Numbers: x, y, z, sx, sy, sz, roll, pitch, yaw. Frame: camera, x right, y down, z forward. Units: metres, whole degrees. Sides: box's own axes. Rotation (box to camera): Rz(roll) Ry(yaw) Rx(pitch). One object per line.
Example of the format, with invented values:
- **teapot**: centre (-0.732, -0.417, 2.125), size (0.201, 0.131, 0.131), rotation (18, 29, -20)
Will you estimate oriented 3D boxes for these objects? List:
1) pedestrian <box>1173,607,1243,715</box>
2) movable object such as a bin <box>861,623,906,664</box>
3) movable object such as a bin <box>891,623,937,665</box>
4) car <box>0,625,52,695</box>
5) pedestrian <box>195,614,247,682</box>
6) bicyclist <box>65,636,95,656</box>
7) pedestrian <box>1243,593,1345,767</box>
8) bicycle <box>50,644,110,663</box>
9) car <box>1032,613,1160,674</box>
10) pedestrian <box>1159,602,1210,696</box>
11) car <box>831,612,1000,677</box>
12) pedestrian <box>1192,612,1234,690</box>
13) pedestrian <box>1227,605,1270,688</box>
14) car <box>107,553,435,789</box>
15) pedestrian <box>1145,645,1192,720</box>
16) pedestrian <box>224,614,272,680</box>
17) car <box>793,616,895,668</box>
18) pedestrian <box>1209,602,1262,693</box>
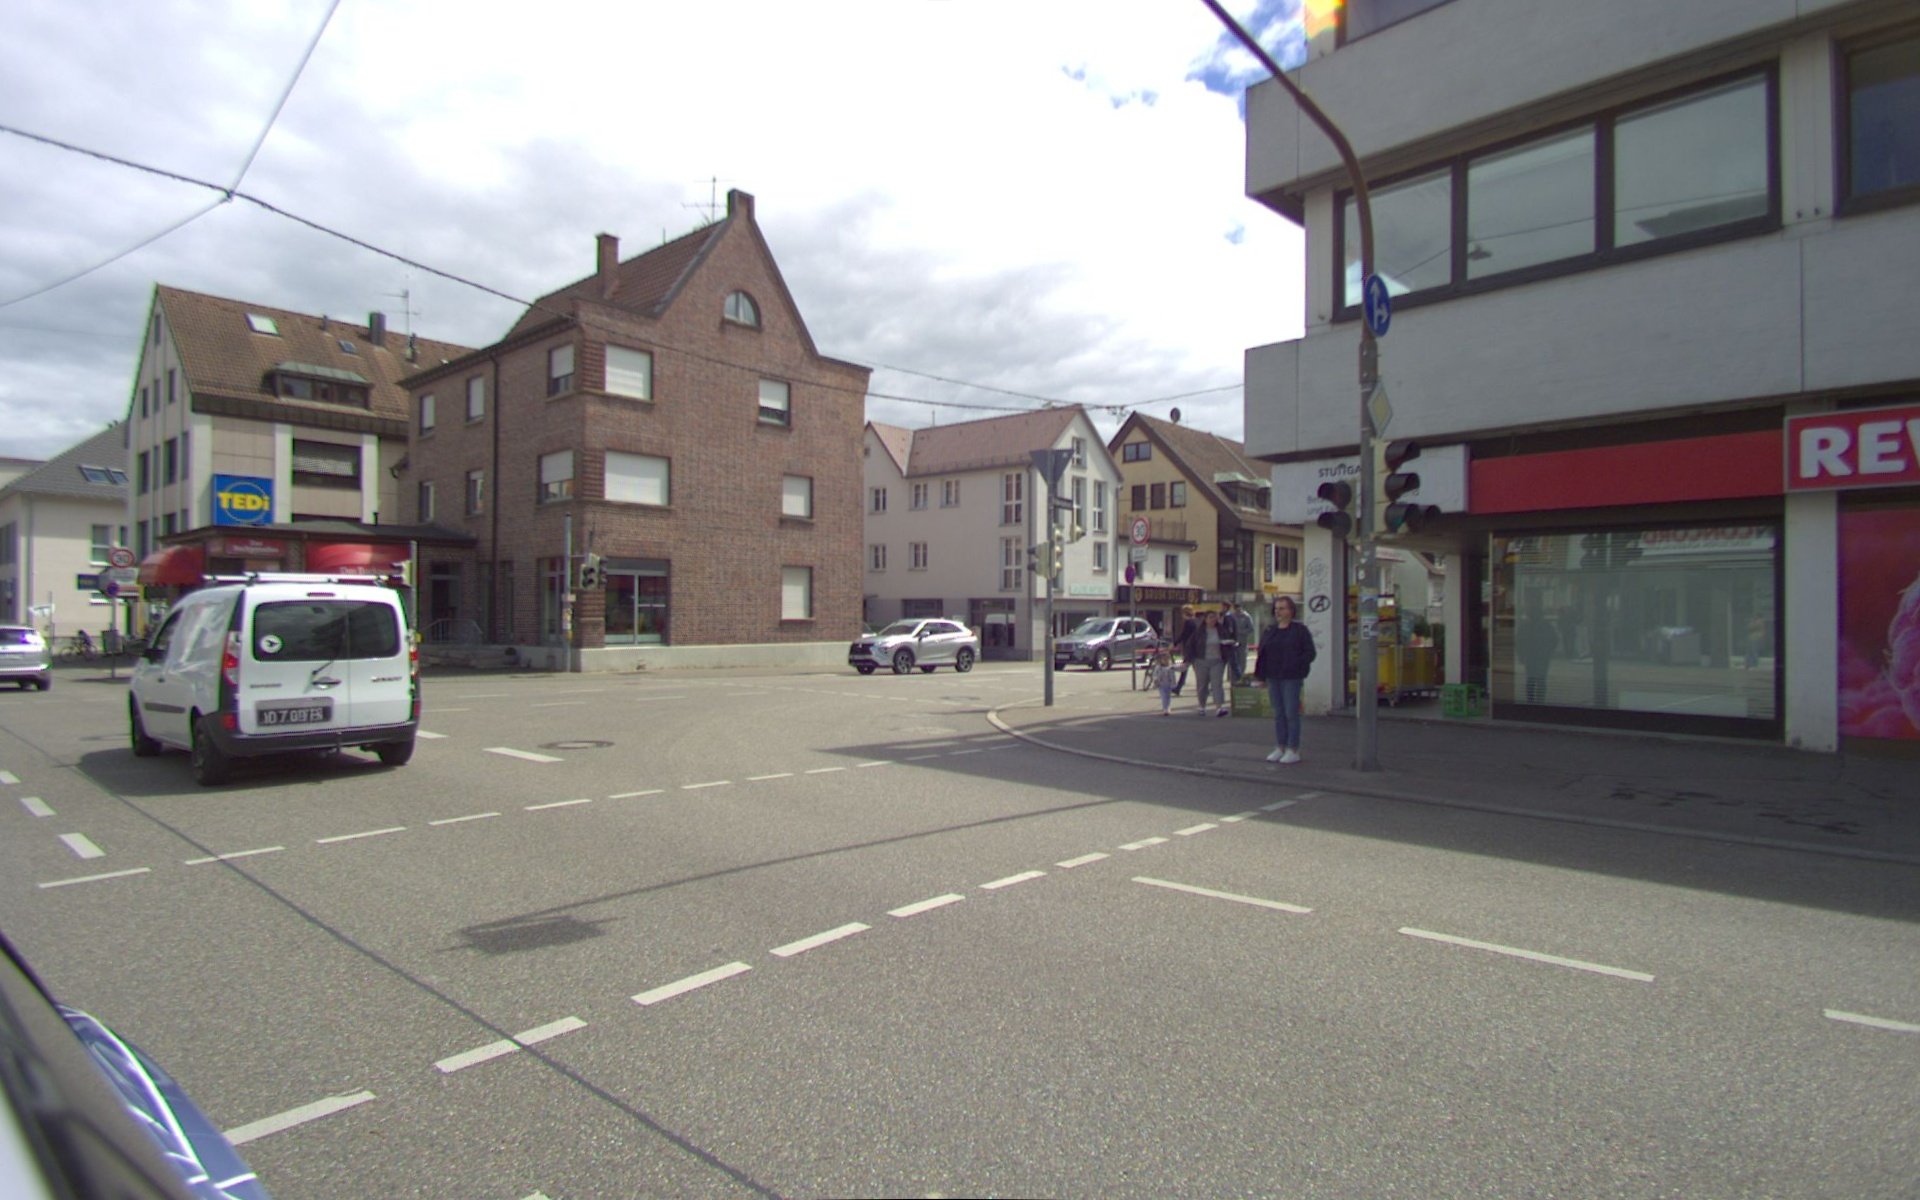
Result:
- **pedestrian**: centre (3.726, 0.896, 15.256), size (0.810, 1.566, 0.845), rotation (-1, -1, 1)
- **movable object such as a bin**: centre (-3.227, 1.804, 42.473), size (1.145, 1.637, 1.498), rotation (-1, 0, 44)
- **movable object such as a bin**: centre (-1.889, 1.787, 41.457), size (1.145, 1.637, 1.498), rotation (-1, 0, 44)
- **car**: centre (-22.197, 1.322, 22.988), size (3.967, 1.499, 1.735), rotation (-1, -2, 39)
- **pedestrian**: centre (-19.095, 1.237, 26.166), size (0.791, 1.708, 0.773), rotation (-1, -2, 23)
- **bicyclist**: centre (-36.921, 1.934, 42.456), size (0.488, 0.814, 0.892), rotation (0, -2, -5)
- **pedestrian**: centre (3.334, 0.765, 10.109), size (0.709, 1.657, 0.682), rotation (0, -1, -44)
- **bicycle**: centre (-36.917, 2.234, 42.497), size (0.655, 0.734, 2.288), rotation (0, -2, -3)
- **car**: centre (4.367, 1.353, 31.991), size (1.999, 1.768, 4.292), rotation (-2, -3, 41)
- **pedestrian**: centre (4.297, 0.919, 19.309), size (0.815, 1.753, 0.840), rotation (-1, -1, 20)
- **car**: centre (-1.244, 1.329, 30.545), size (2.000, 1.782, 5.184), rotation (-3, -3, 44)
- **pedestrian**: centre (5.318, 1.063, 21.307), size (0.771, 1.613, 0.817), rotation (0, -2, 9)
- **pedestrian**: centre (6.290, 0.997, 22.016), size (0.815, 1.753, 0.840), rotation (-1, -1, 20)
- **car**: centre (-7.196, 0.647, 10.412), size (4.110, 1.945, 1.795), rotation (-2, -3, 41)
- **pedestrian**: centre (3.132, 1.229, 15.218), size (0.553, 1.065, 0.662), rotation (-1, -1, 1)
- **pedestrian**: centre (-18.866, 1.235, 26.821), size (0.872, 1.729, 0.679), rotation (-1, -2, 23)
- **car**: centre (-4.434, 1.577, 38.350), size (3.700, 1.877, 1.845), rotation (-2, -3, 41)
- **pedestrian**: centre (5.280, 0.911, 19.435), size (0.768, 1.706, 0.819), rotation (0, -2, -1)
